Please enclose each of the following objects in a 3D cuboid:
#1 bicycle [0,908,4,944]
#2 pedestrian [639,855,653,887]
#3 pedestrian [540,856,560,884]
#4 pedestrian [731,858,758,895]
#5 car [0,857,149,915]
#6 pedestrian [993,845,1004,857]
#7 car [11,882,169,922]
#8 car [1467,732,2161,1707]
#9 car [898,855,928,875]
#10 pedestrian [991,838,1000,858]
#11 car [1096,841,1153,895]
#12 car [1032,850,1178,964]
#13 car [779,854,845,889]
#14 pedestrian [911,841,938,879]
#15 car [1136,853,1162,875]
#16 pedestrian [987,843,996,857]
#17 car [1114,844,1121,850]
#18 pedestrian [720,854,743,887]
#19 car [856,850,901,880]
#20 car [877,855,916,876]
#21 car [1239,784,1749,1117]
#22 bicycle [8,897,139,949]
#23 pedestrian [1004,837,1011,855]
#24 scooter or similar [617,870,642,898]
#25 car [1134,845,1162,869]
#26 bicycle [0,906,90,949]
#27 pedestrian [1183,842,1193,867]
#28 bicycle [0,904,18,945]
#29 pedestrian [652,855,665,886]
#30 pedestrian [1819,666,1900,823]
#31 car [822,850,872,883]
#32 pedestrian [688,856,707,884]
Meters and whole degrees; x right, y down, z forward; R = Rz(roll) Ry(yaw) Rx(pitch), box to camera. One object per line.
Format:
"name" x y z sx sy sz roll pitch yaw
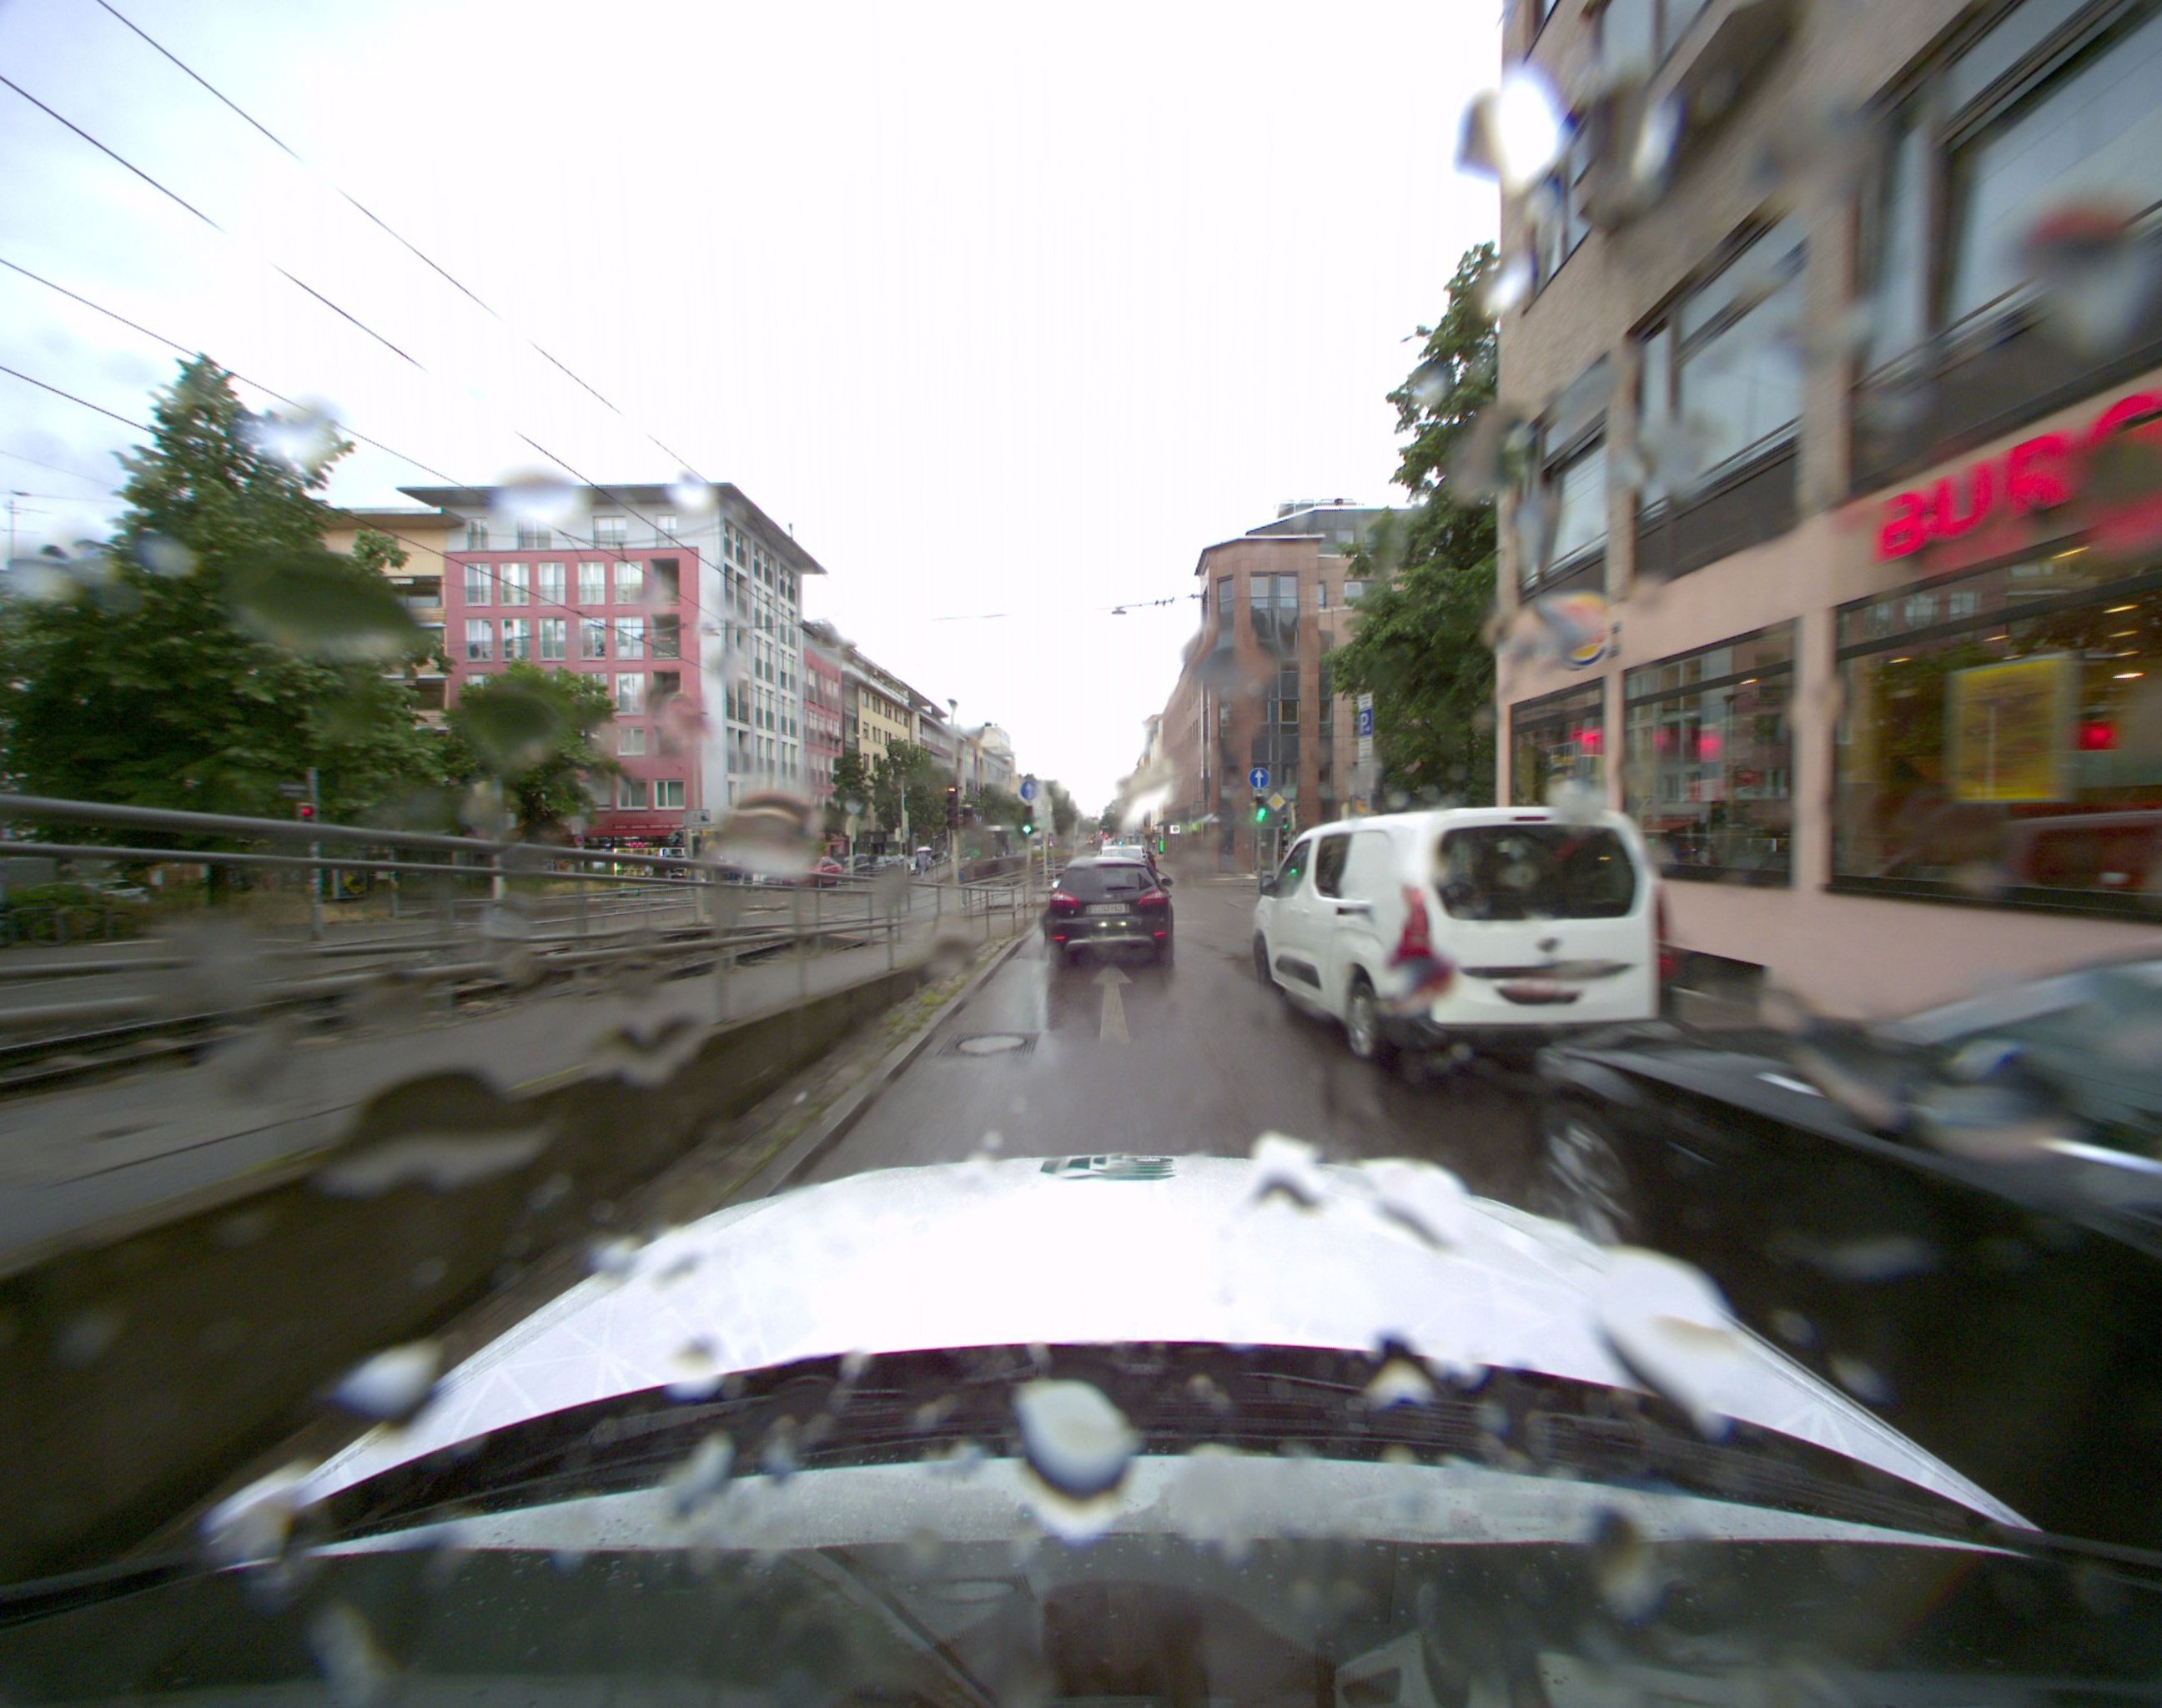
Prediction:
"bicycle" -25.300 1.682 18.134 0.336 0.843 1.649 -2 0 5
"pedestrian" -22.987 0.895 43.045 0.581 1.631 0.606 0 0 -24
"pedestrian" -26.985 0.827 41.372 0.558 1.405 0.651 0 0 0
"pedestrian" -15.707 1.034 38.035 0.871 1.631 0.812 1 3 43
"car" -49.512 1.490 38.467 2.404 2.534 7.106 -2 0 4
"pedestrian" -7.574 -0.281 74.763 0.892 1.123 0.847 -2 0 -9
"car" -39.579 1.901 32.597 3.970 1.373 2.002 -2 0 3
"car" 2.574 0.604 1.350 1.899 1.615 4.416 -1 0 2
"car" -13.006 0.795 63.282 1.563 1.436 3.977 -2 0 -1
"pedestrian" -7.380 -0.530 70.171 0.653 1.711 0.850 -2 0 0
"car" 1.737 0.487 30.848 1.897 1.864 4.581 -1 0 6
"car" 0.385 0.707 12.457 1.899 1.462 3.447 -1 0 2
"car" -14.044 0.889 42.771 1.719 1.611 4.557 -2 1 3
"pedestrian" -8.642 0.334 44.907 1.112 2.013 1.384 -2 0 2
"car" 5.072 0.719 60.790 1.692 1.462 3.869 -3 0 2
"pedestrian" -7.939 -0.355 72.480 0.690 1.249 0.884 -2 0 0
"car" 10.052 -1.870 226.873 1.899 1.633 4.577 -1 0 3
"pedestrian" -18.281 0.860 42.599 0.818 1.697 0.984 0 0 -7
"car" -13.114 0.672 52.984 1.797 1.858 4.379 -2 0 -1
"car" -13.280 0.800 58.773 1.835 1.436 4.317 -2 0 -1
"car" 2.764 0.536 6.926 1.900 1.806 4.777 -1 0 0
"bicycle" -22.122 1.489 17.942 0.478 0.959 1.874 -2 0 2
"pedestrian" -7.538 -0.827 83.613 0.653 1.801 0.850 -2 0 0
"scooter or similar" -20.509 1.346 37.018 0.387 1.191 1.213 -2 0 3
"car" 4.569 0.207 55.833 1.691 1.479 3.870 -3 0 3
"bicycle" -23.086 1.611 17.979 0.338 0.816 1.647 -2 0 2
"pedestrian" 7.136 0.040 54.383 0.599 1.659 0.626 -2 0 2
"bicycle" -24.923 1.627 18.087 0.337 0.910 1.649 -2 0 5
"pedestrian" -22.319 0.860 43.008 0.548 1.631 0.568 0 0 -34
"pedestrian" 9.565 -1.307 10.030 0.659 1.820 0.600 -2 -1 42
"car" -13.847 0.704 48.356 1.702 1.858 4.320 -2 0 -1
"pedestrian" -19.882 0.837 42.228 0.637 1.461 0.656 0 0 0
